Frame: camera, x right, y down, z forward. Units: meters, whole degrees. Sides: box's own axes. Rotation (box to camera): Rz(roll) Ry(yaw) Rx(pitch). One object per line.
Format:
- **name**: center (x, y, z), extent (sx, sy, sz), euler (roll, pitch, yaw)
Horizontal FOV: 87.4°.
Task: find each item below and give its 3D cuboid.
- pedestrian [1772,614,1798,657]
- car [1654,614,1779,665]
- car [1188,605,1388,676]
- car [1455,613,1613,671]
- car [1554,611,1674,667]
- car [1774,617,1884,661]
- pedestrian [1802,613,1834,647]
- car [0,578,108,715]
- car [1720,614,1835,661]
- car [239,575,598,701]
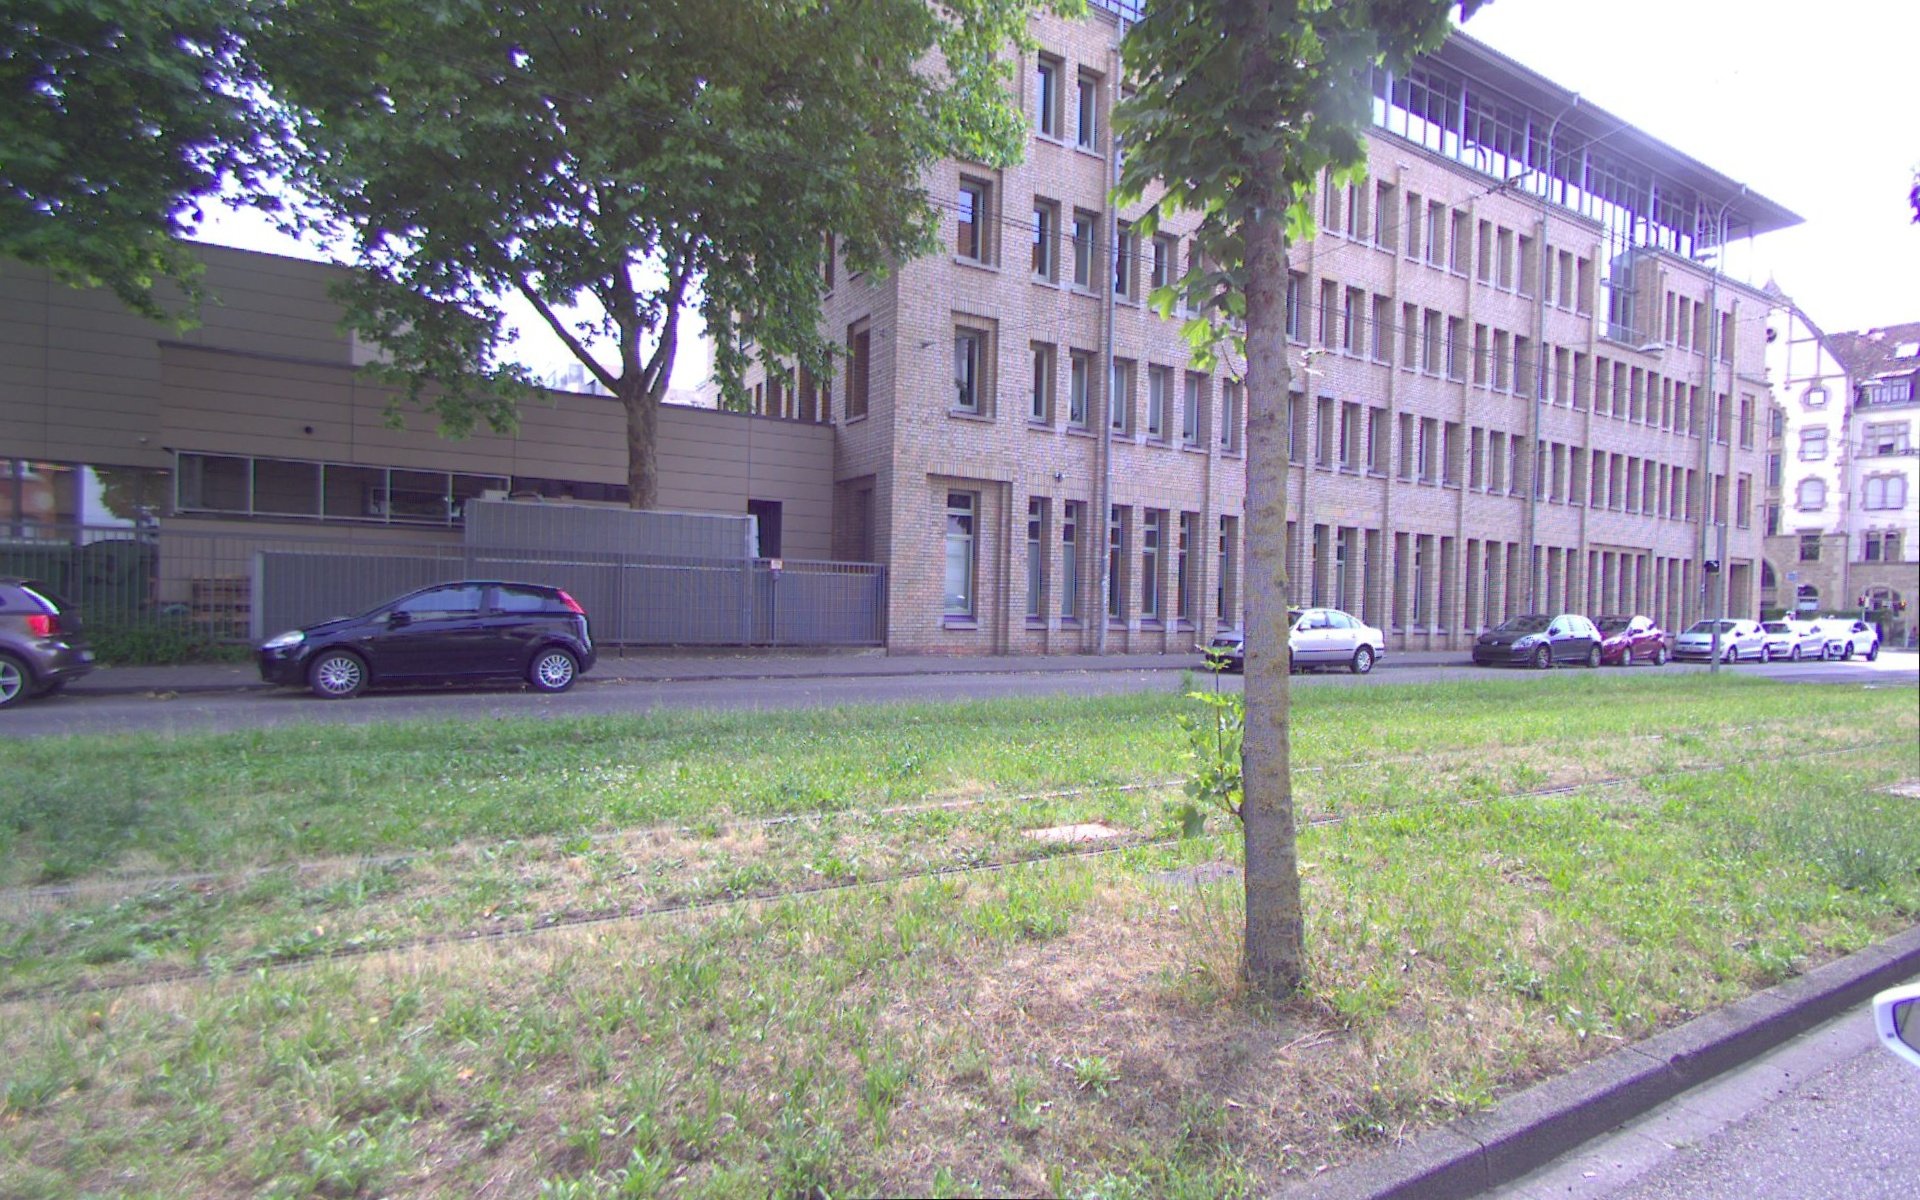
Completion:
- **pedestrian**: center (36.228, 1.538, 44.119), extent (0.749, 1.819, 0.957), euler (2, 1, 34)
- **car**: center (25.142, 1.293, 33.368), extent (4.160, 1.551, 1.842), euler (1, 0, -30)
- **car**: center (7.347, 0.875, 22.381), extent (4.432, 1.415, 1.707), euler (1, 0, -30)
- **car**: center (15.755, 1.126, 27.541), extent (4.189, 1.415, 1.924), euler (1, 0, -30)
- **car**: center (19.506, 1.141, 29.952), extent (3.507, 1.551, 1.575), euler (1, 0, -30)
- **car**: center (33.357, 1.497, 38.539), extent (4.207, 1.555, 1.924), euler (1, 0, -30)
- **pedestrian**: center (46.140, 1.595, 54.032), extent (1.003, 1.745, 0.776), euler (2, 1, 15)
- **car**: center (-11.684, 0.451, 10.606), extent (3.857, 1.445, 1.546), euler (1, 0, -31)
- **car**: center (29.563, 1.352, 36.318), extent (3.967, 1.551, 1.924), euler (1, 0, -30)
- **car**: center (-7.046, 0.471, 13.413), extent (3.950, 1.472, 1.795), euler (1, 0, -28)
